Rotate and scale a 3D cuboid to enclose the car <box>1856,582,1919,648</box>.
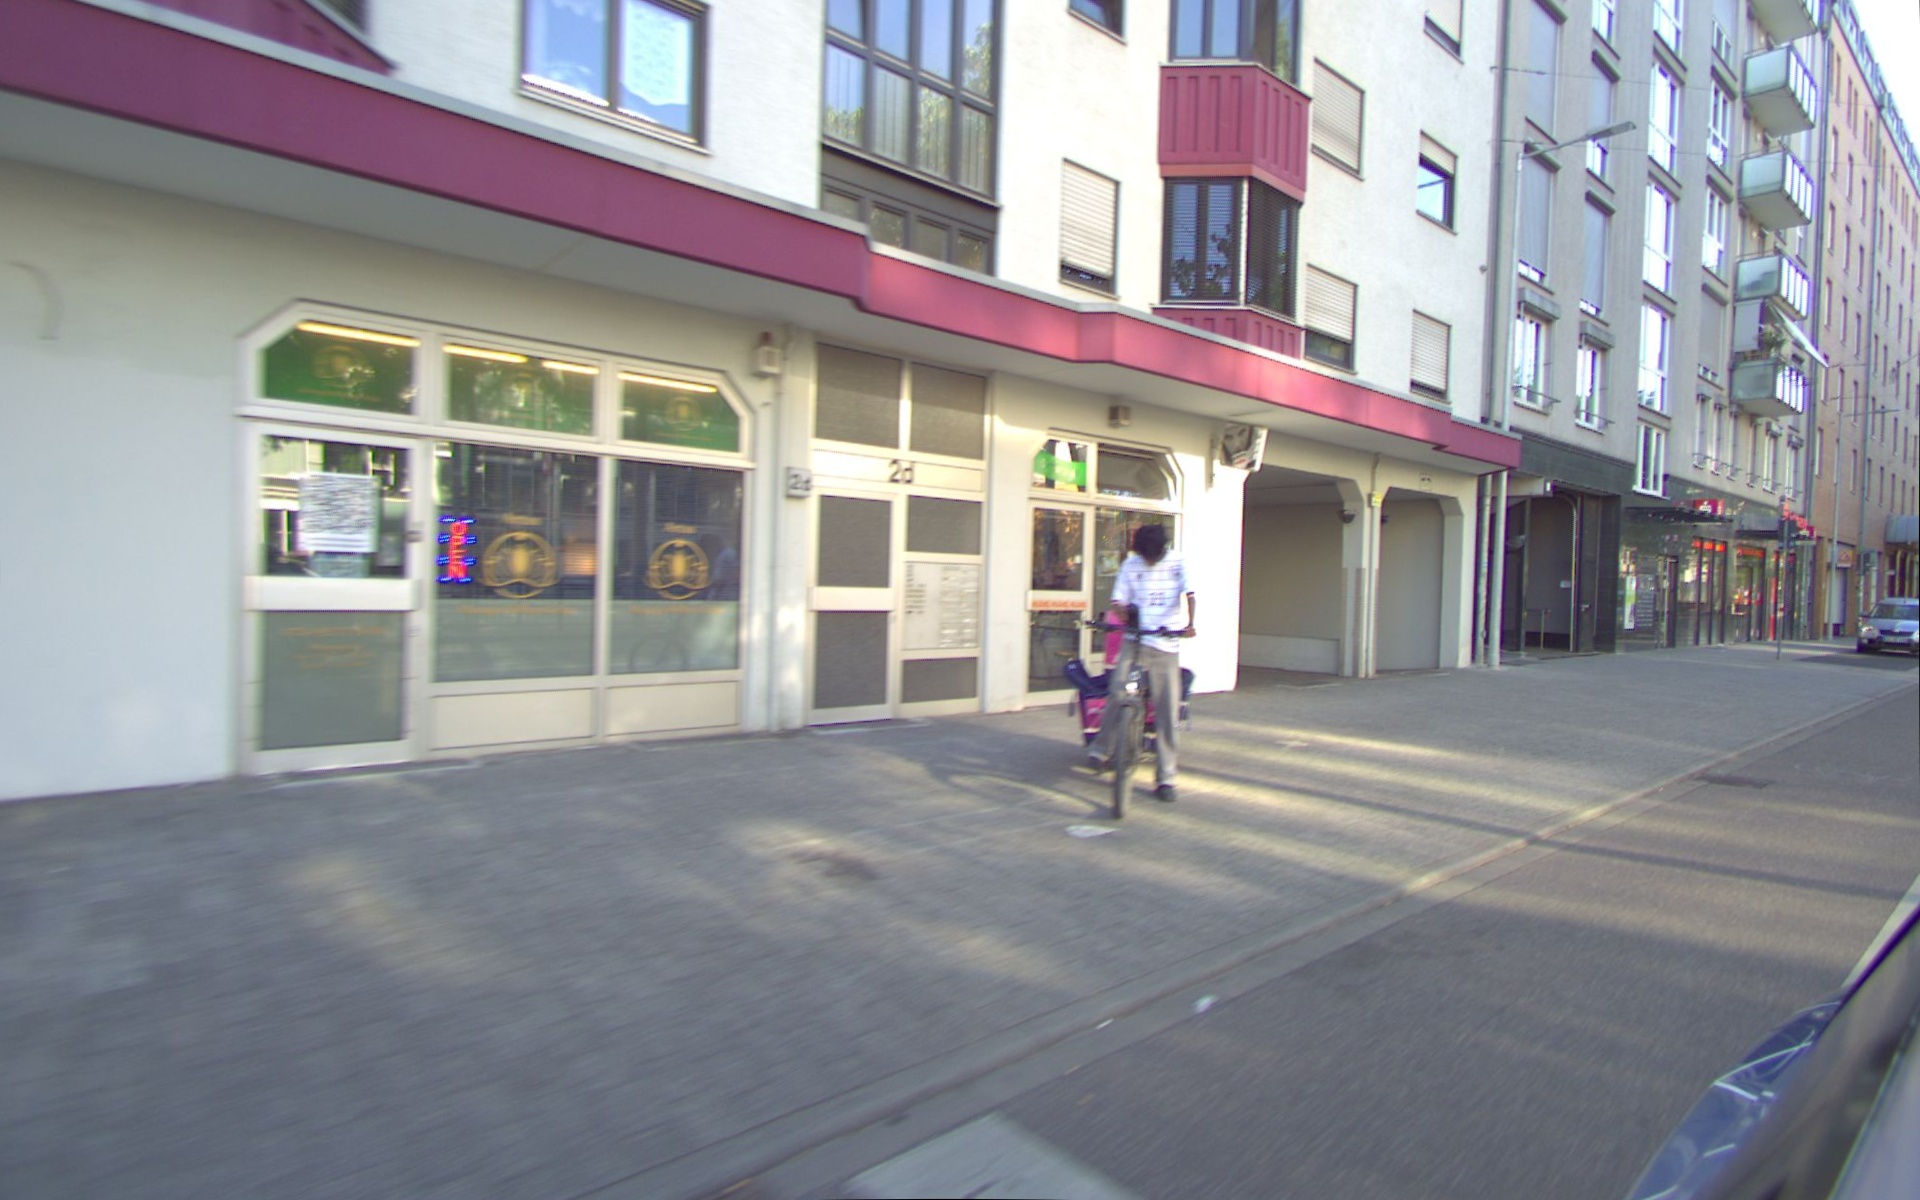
[{"bbox_3d":[26.504,0.415,27.982,4.207,1.642,1.838,0,5,-40],"label":"car"}]

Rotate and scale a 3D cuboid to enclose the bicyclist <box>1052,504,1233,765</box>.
[{"bbox_3d":[1.225,0.187,6.742,1.044,1.559,1.075,2,1,13],"label":"bicyclist"}]

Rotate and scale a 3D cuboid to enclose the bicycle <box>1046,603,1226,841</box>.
[{"bbox_3d":[1.244,0.670,6.888,0.949,1.198,2.589,2,2,12],"label":"bicycle"}]
